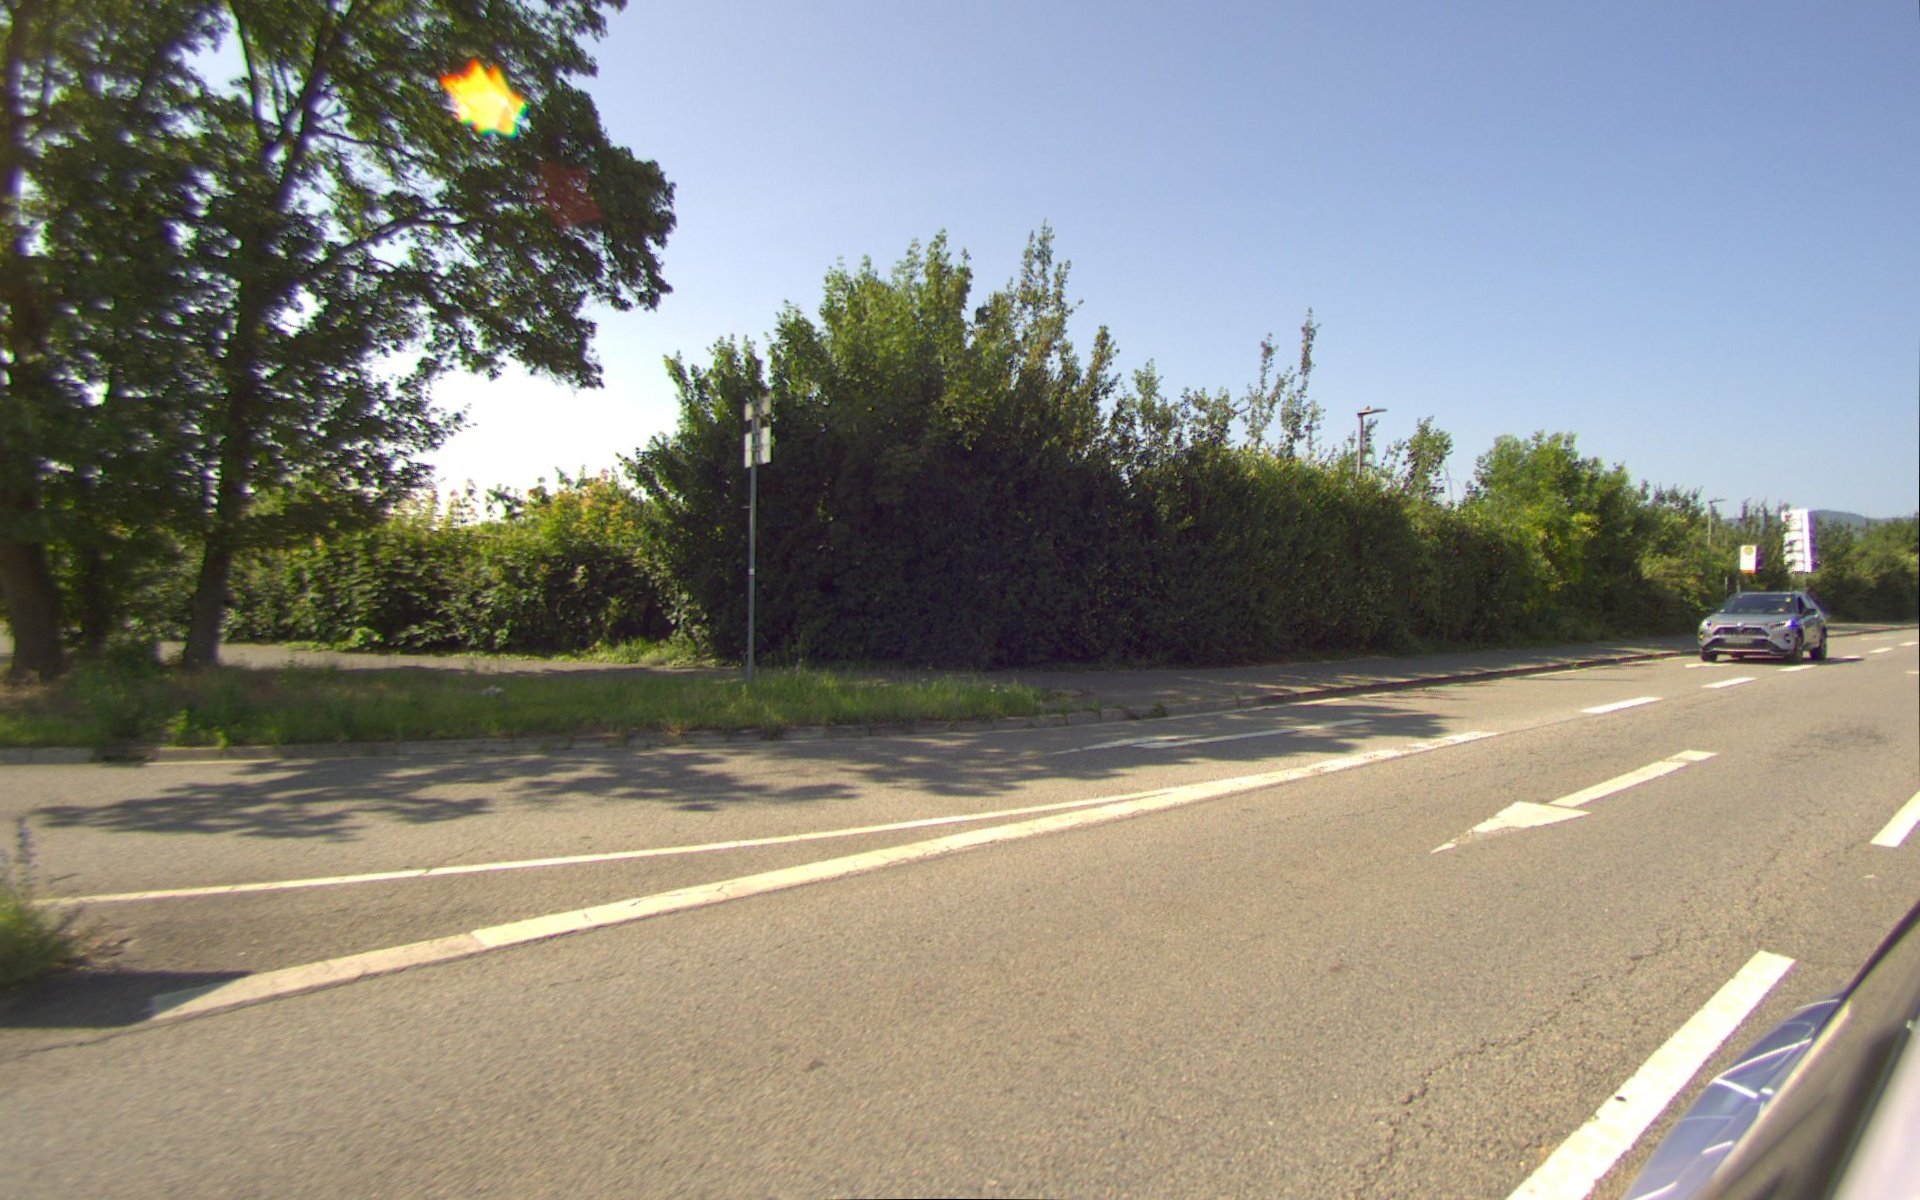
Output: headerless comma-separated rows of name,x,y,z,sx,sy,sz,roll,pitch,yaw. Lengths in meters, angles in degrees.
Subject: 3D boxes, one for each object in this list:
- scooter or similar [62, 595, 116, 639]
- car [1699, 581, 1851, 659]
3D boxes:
scooter or similar,-16.043,0.307,18.631,1.113,0.735,0.431,3,2,31
car,19.609,0.430,24.292,4.599,1.701,1.906,0,0,-39
